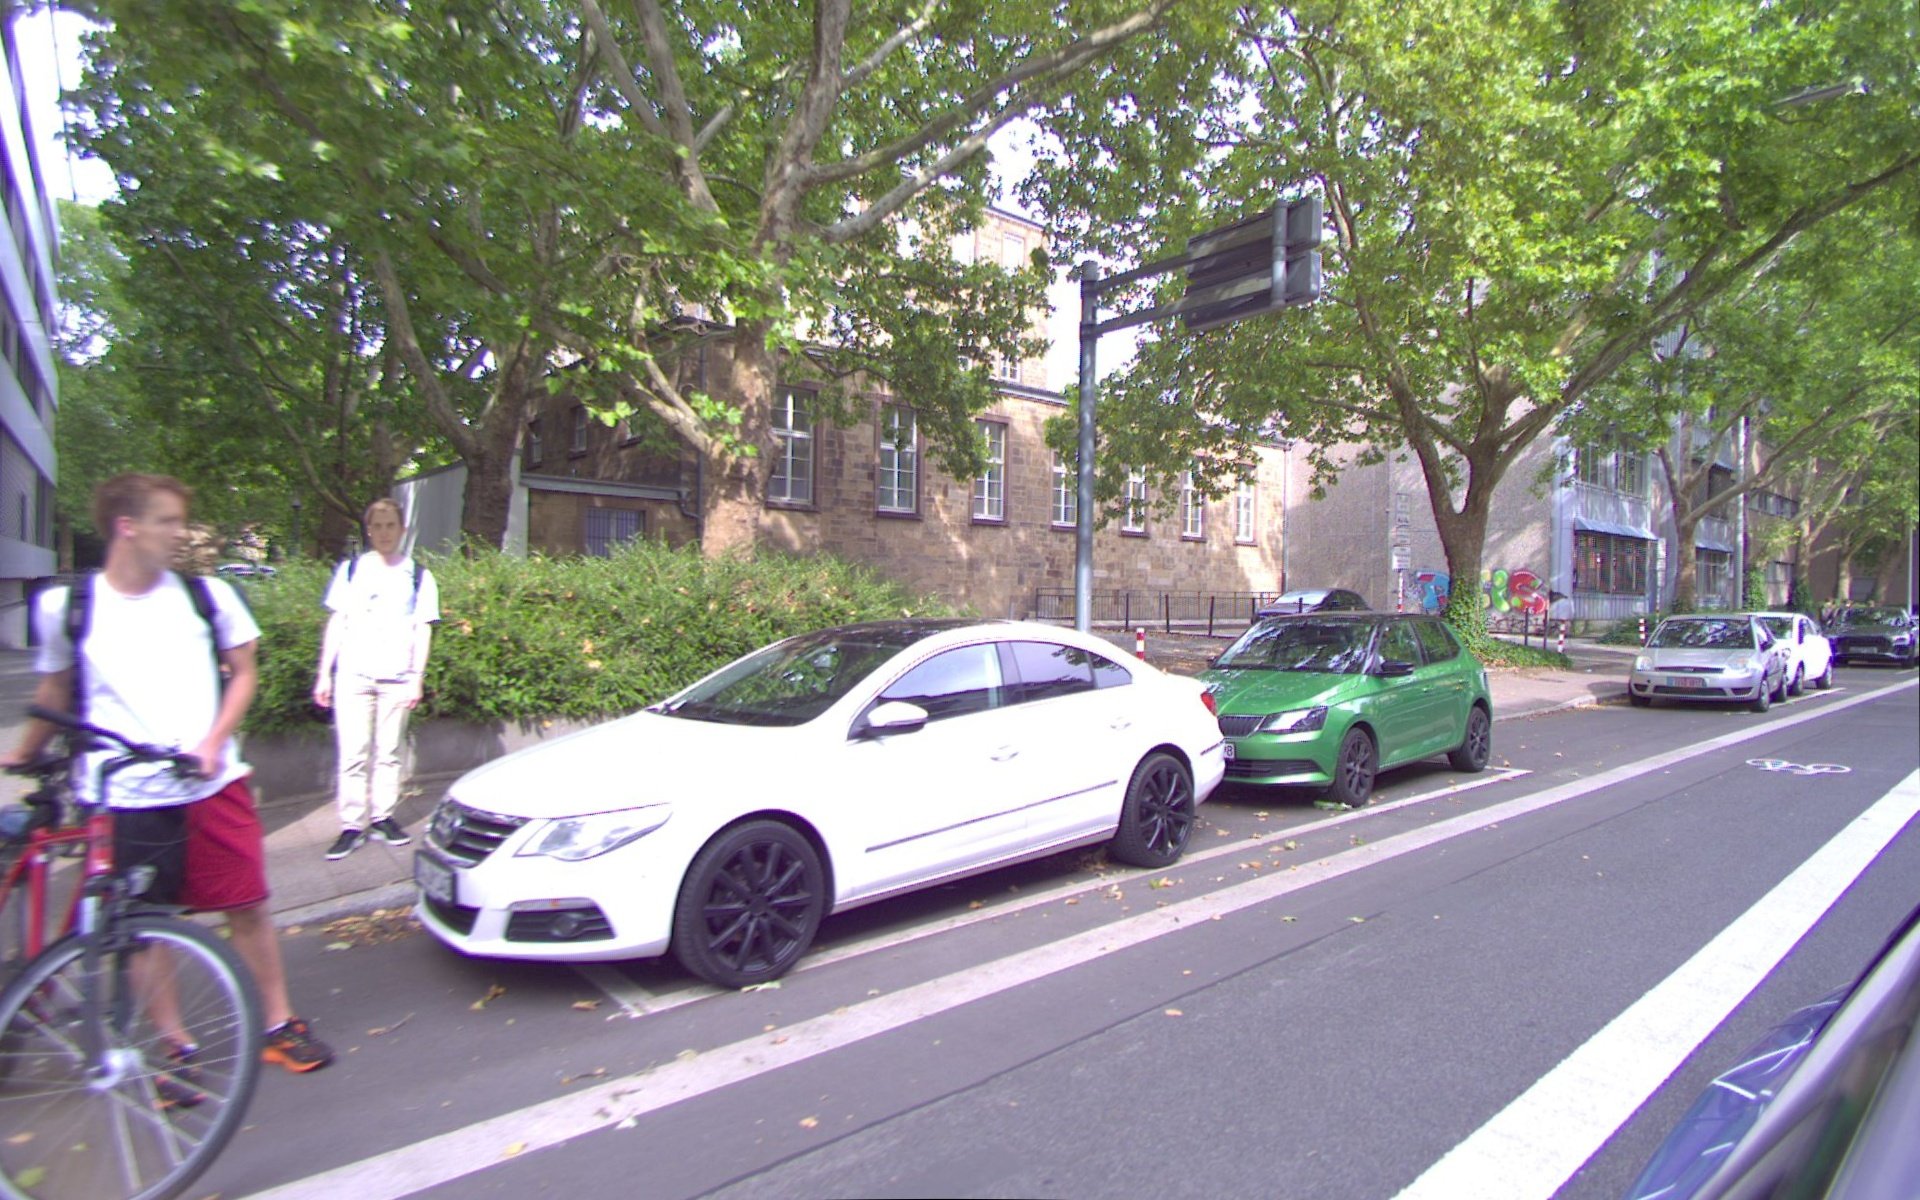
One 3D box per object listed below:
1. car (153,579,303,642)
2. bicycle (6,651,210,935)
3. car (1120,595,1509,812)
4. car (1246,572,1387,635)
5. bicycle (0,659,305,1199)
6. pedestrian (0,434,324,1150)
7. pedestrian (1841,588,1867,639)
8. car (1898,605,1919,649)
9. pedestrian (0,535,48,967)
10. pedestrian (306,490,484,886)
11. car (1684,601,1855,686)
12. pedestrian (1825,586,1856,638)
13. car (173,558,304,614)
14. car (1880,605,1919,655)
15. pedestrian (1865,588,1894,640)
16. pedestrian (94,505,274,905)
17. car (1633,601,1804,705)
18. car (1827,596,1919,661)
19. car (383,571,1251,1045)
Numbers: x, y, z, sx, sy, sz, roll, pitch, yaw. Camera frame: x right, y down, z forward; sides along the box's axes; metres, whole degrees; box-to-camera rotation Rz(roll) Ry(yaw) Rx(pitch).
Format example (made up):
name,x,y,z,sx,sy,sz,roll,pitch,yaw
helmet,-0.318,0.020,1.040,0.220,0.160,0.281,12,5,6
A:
name,x,y,z,sx,sy,sz,roll,pitch,yaw
car,-29.689,0.409,41.140,4.709,2.438,2.226,0,-1,-43
bicycle,-4.331,0.867,5.099,1.764,1.146,0.456,0,-1,39
car,3.183,0.722,8.727,3.741,1.468,1.589,0,-2,-43
car,9.407,0.121,26.564,4.223,1.468,1.671,3,-1,-42
bicycle,-2.525,0.820,2.778,1.782,1.233,0.547,0,-1,33
pedestrian,-2.469,0.499,3.101,0.518,1.869,0.735,0,-1,35
pedestrian,32.281,0.477,36.551,0.518,1.806,0.502,0,4,-41
car,32.993,0.883,34.079,3.886,1.441,1.601,0,-1,-40
pedestrian,-4.130,0.585,4.069,0.643,1.679,0.722,1,-1,-40
pedestrian,-3.203,0.448,5.726,0.736,2.023,0.794,1,-1,-40
car,15.526,0.761,19.348,4.143,1.466,1.757,0,-1,-40
pedestrian,32.219,0.431,37.029,0.634,1.855,0.643,0,4,-41
car,-33.287,-0.594,46.751,4.709,2.438,2.226,0,-1,-43
car,29.791,0.892,31.127,4.492,1.451,1.642,0,-1,-40
pedestrian,32.714,0.495,35.998,0.468,1.806,0.592,0,4,-41
pedestrian,-4.035,0.493,5.264,0.691,1.878,0.722,1,-1,-40
car,12.142,0.761,16.114,1.643,1.466,3.819,-1,-1,45
car,25.493,0.740,27.841,4.404,1.642,1.923,0,-1,-42
car,-0.392,0.694,5.442,4.467,1.535,1.682,0,-2,-43
